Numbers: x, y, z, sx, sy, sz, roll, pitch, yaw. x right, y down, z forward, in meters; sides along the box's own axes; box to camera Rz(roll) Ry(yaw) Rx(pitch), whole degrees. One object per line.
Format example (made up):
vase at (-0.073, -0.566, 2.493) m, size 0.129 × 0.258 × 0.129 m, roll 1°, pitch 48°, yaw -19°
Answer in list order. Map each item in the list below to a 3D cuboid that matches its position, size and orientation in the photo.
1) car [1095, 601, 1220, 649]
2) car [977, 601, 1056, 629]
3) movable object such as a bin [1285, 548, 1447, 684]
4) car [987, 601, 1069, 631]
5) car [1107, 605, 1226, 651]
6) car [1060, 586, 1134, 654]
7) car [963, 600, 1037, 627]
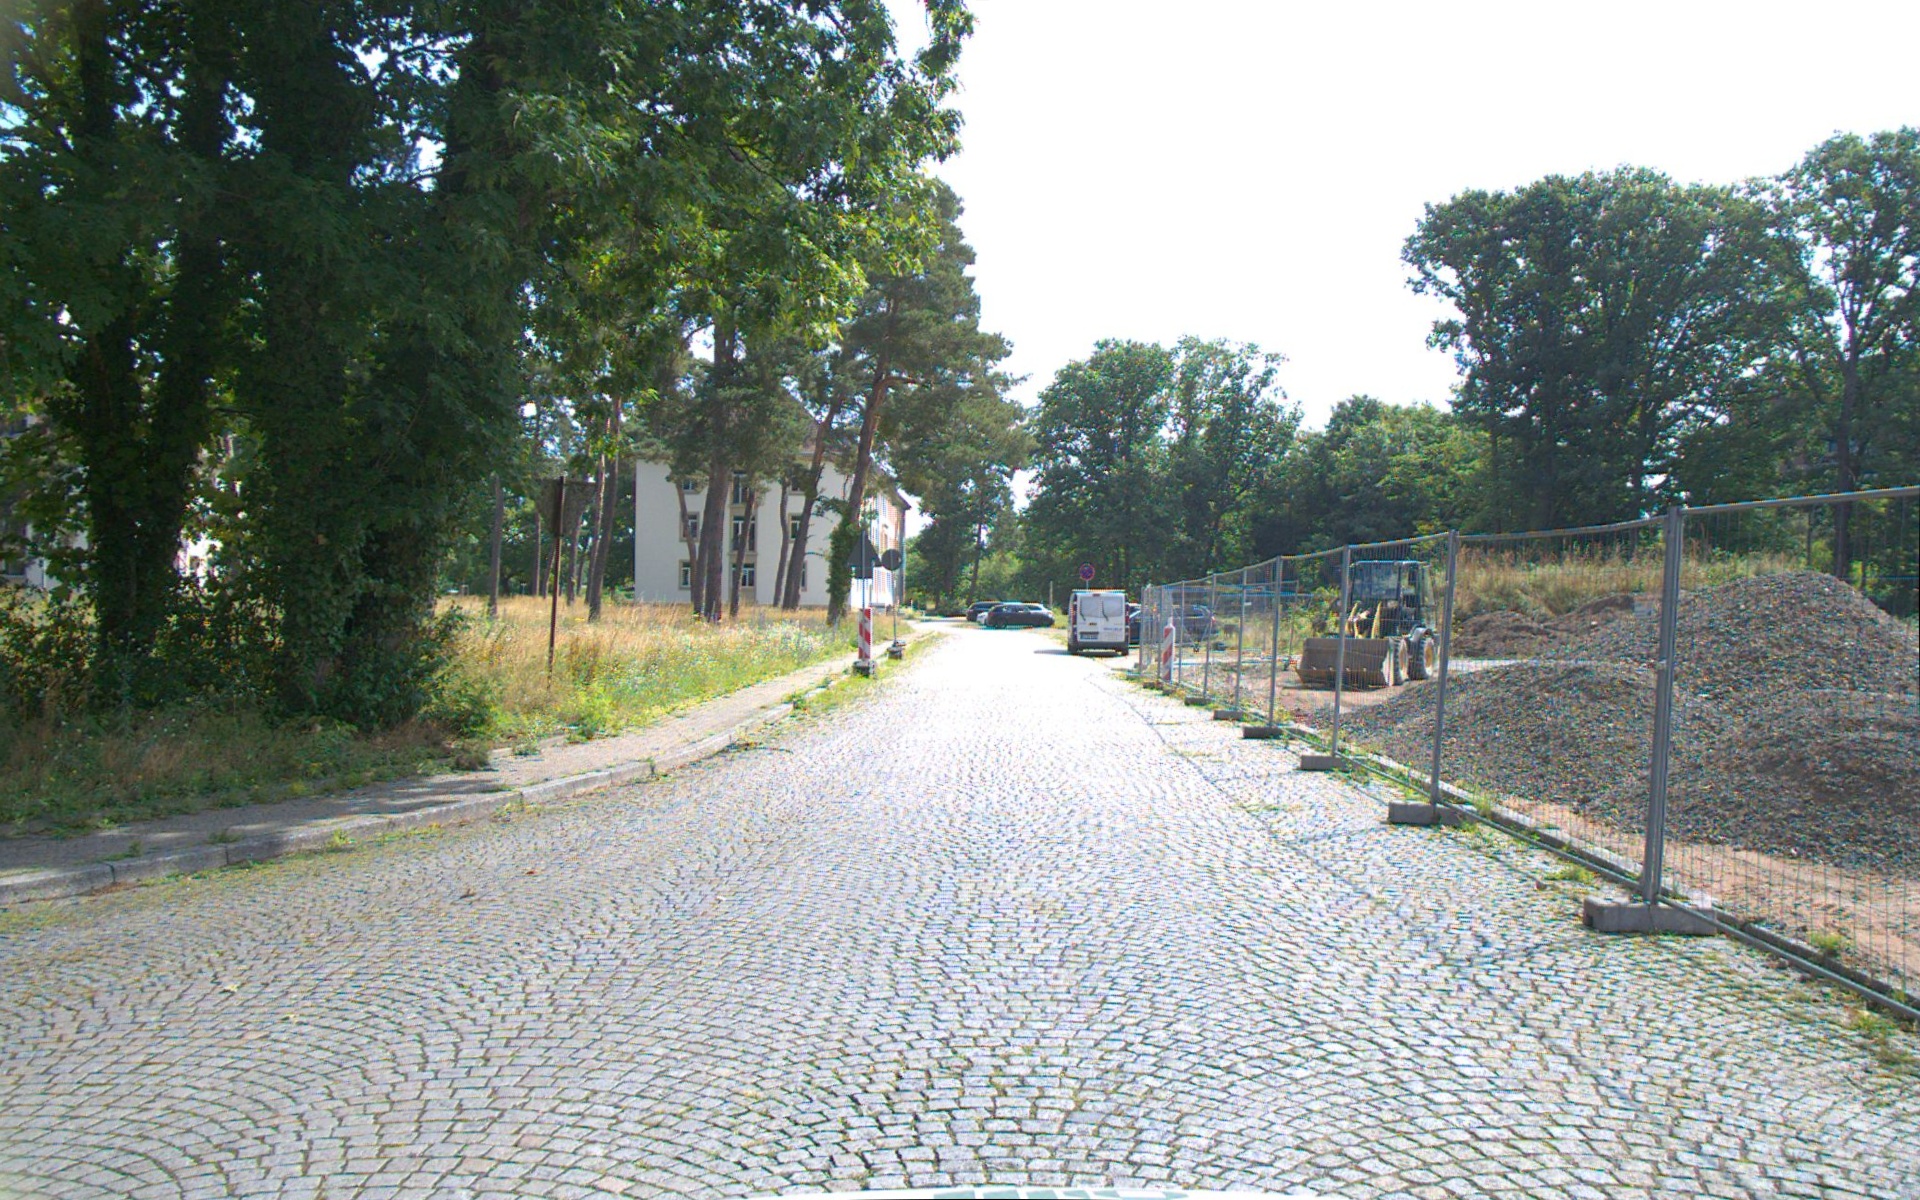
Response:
car at (7.055, 0.865, 58.987) m, size 4.309 × 1.537 × 2.002 m, roll 2°, pitch 0°, yaw 9°
car at (3.481, 0.931, 102.736) m, size 4.686 × 1.669 × 1.998 m, roll 1°, pitch 0°, yaw -5°
movable object such as a bin at (8.600, 0.308, 34.740) m, size 2.089 × 2.638 × 4.782 m, roll 1°, pitch 0°, yaw 29°
car at (4.089, 0.948, 99.580) m, size 4.686 × 1.669 × 1.998 m, roll 1°, pitch 0°, yaw -5°
car at (7.714, 1.035, 61.710) m, size 4.309 × 1.537 × 2.002 m, roll 2°, pitch 0°, yaw 9°
car at (4.333, 0.615, 52.889) m, size 1.953 × 2.049 × 4.090 m, roll 1°, pitch 0°, yaw -1°
car at (2.648, 0.903, 110.251) m, size 4.686 × 1.669 × 1.998 m, roll 1°, pitch 0°, yaw -5°
